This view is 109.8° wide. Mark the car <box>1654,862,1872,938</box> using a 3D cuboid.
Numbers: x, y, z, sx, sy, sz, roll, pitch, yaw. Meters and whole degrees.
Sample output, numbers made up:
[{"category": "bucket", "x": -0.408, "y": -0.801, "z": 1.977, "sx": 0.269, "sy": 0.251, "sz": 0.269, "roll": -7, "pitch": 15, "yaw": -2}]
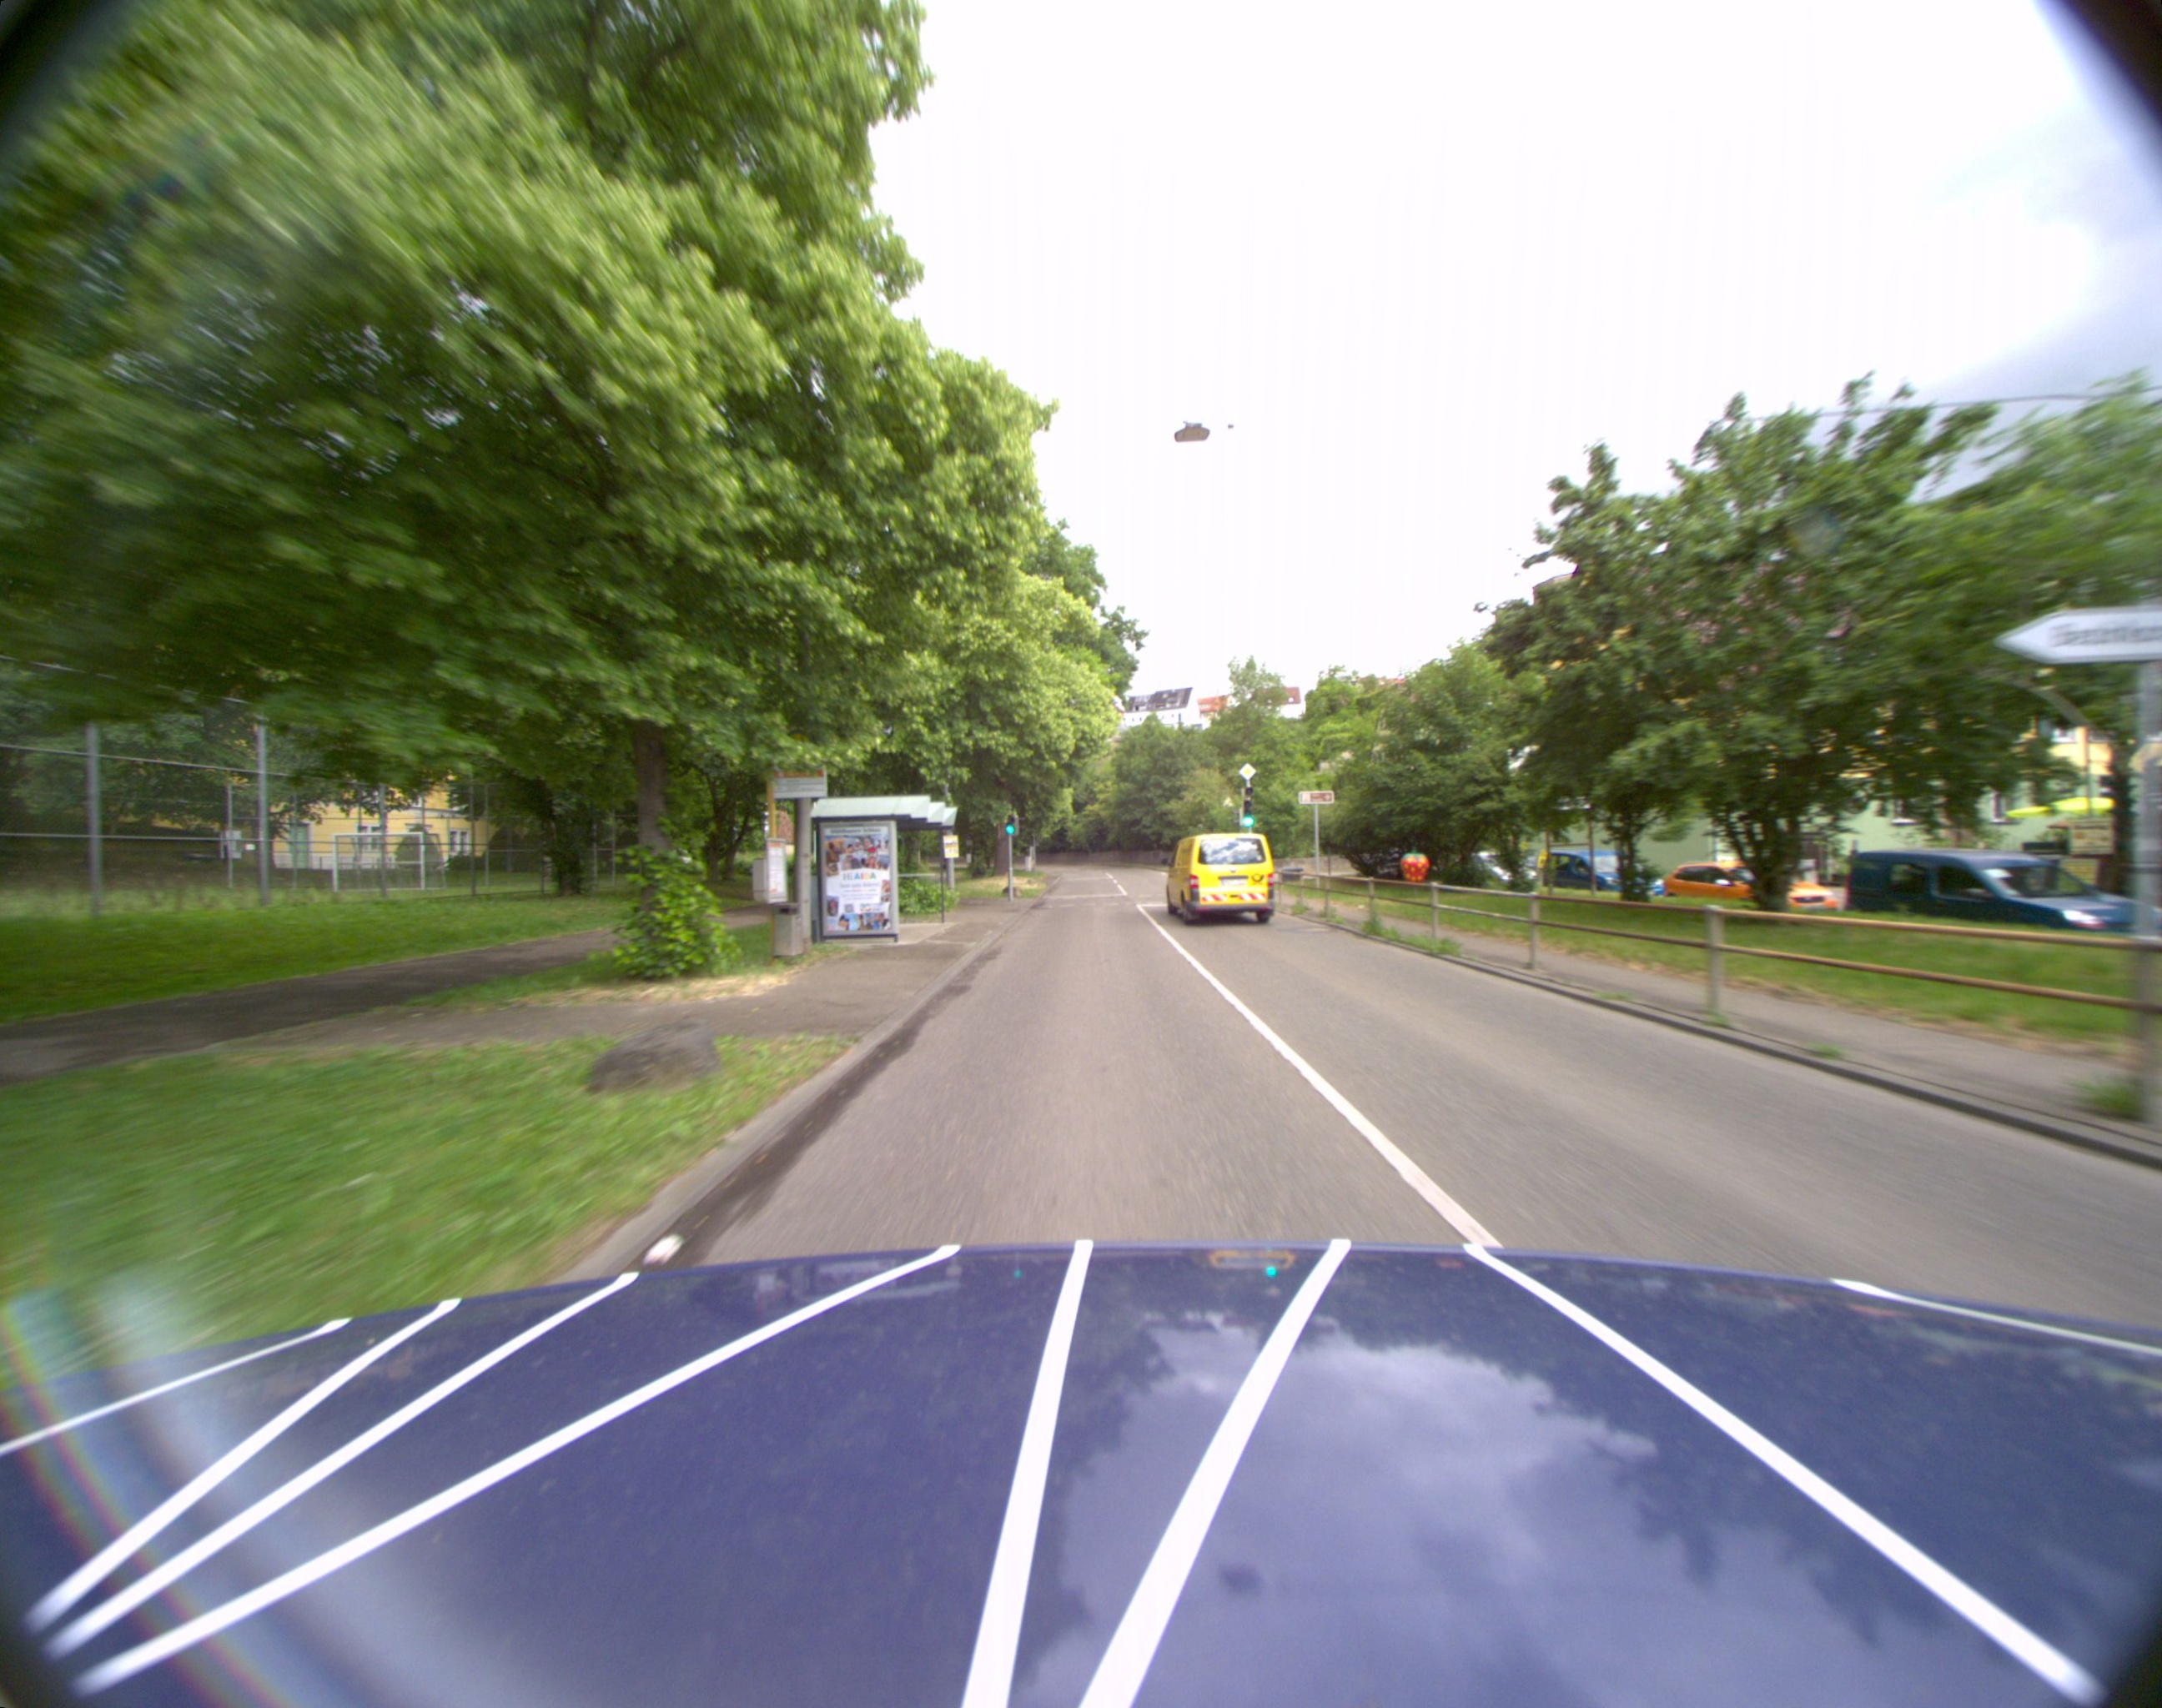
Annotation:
[{"category": "car", "x": 16.693, "y": 1.053, "z": 18.925, "sx": 1.952, "sy": 1.608, "sz": 4.001, "roll": 0, "pitch": 0, "yaw": 3}]

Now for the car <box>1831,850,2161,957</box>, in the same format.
[{"category": "car", "x": 16.192, "y": 0.748, "z": 13.535, "sx": 1.815, "sy": 1.608, "sz": 4.001, "roll": 0, "pitch": 0, "yaw": 3}]

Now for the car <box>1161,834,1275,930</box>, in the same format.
[{"category": "car", "x": 3.062, "y": 0.555, "z": 18.015, "sx": 1.850, "sy": 1.919, "sz": 4.768, "roll": -2, "pitch": 0, "yaw": 1}]

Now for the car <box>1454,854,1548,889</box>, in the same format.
[{"category": "car", "x": 17.412, "y": 0.698, "z": 31.767, "sx": 1.649, "sy": 1.337, "sz": 4.152, "roll": 0, "pitch": 0, "yaw": 0}]

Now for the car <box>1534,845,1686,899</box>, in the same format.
[{"category": "car", "x": 17.055, "y": 0.528, "z": 24.827, "sx": 1.998, "sy": 1.608, "sz": 4.448, "roll": 0, "pitch": 0, "yaw": 3}]

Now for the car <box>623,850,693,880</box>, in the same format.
[{"category": "car", "x": -25.929, "y": 0.710, "z": 46.736, "sx": 1.999, "sy": 1.640, "sz": 4.001, "roll": 2, "pitch": -2, "yaw": -1}]
